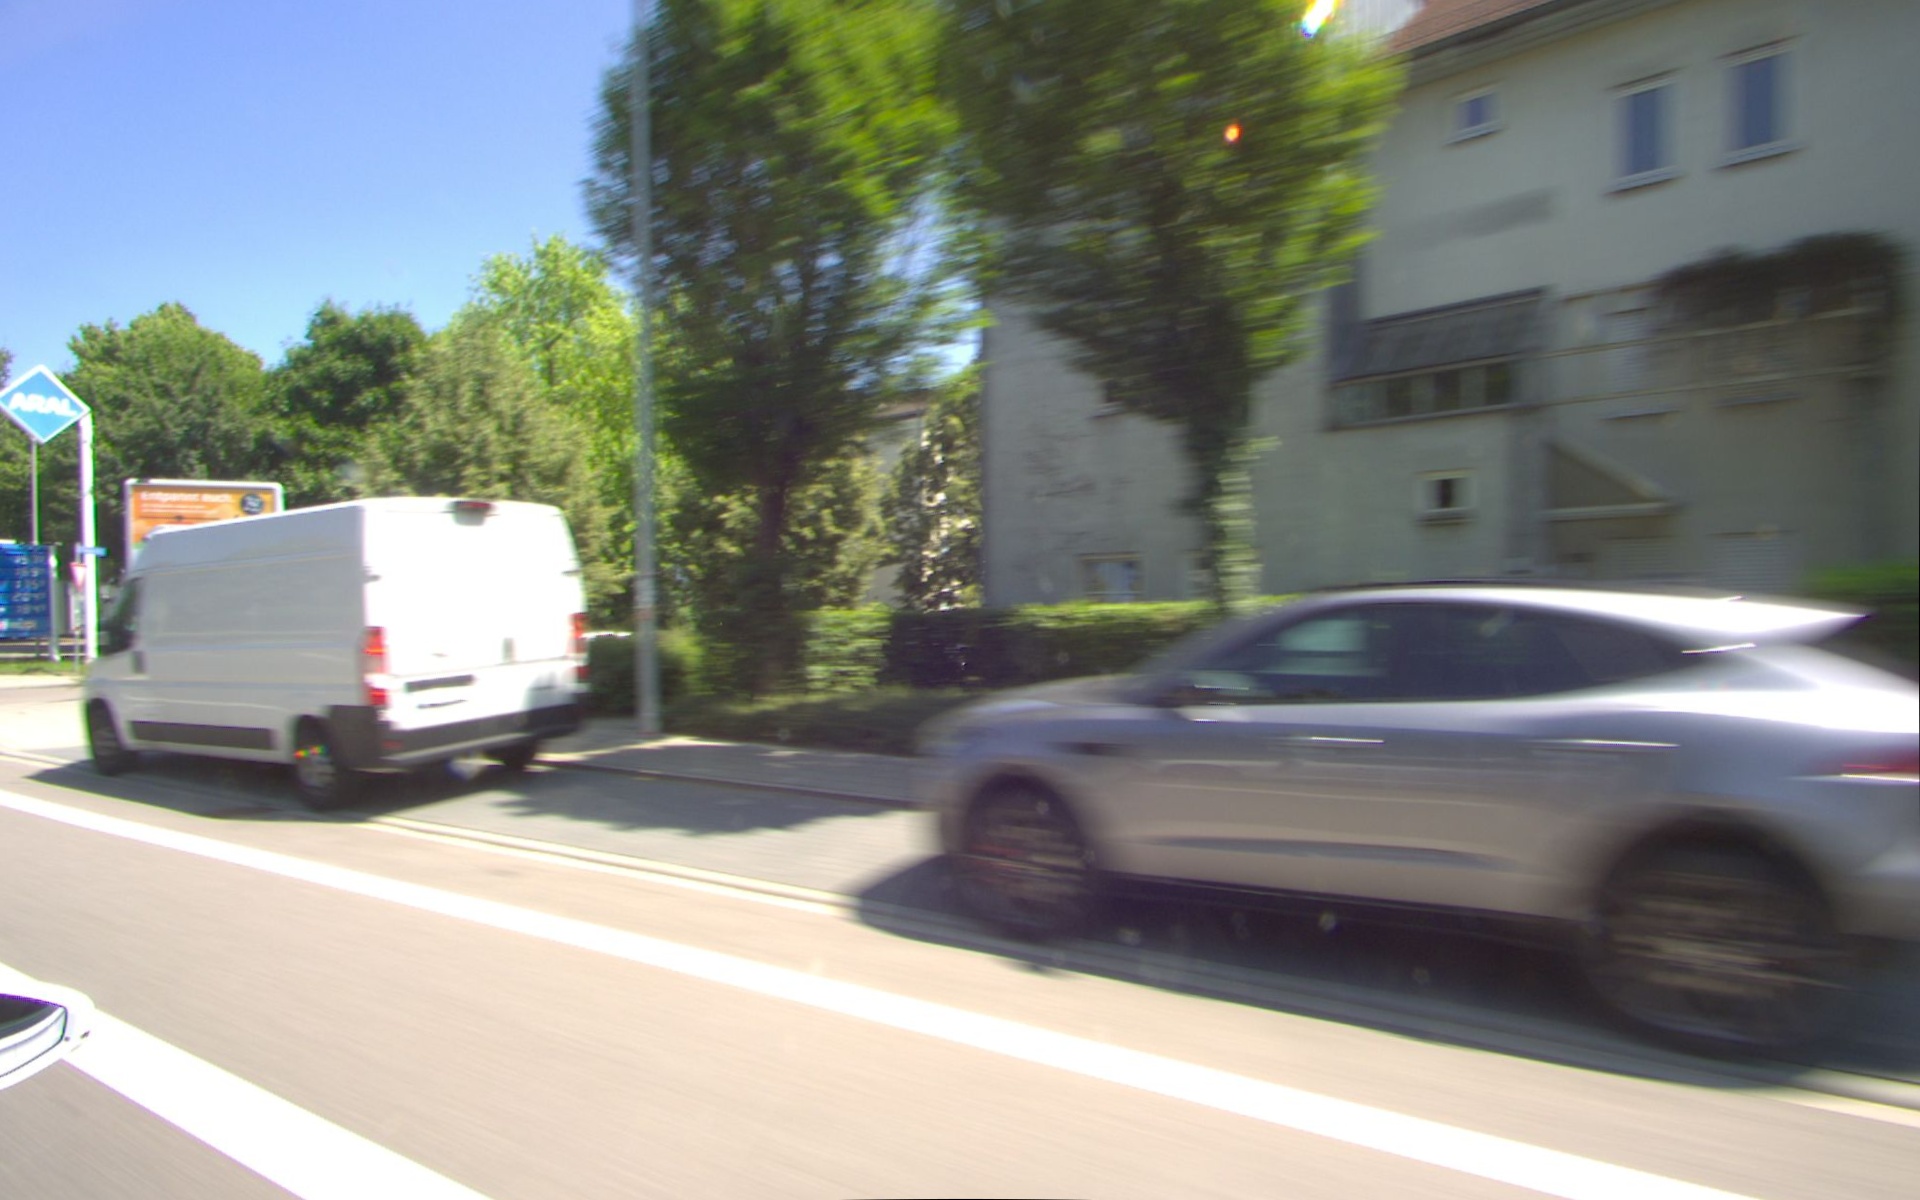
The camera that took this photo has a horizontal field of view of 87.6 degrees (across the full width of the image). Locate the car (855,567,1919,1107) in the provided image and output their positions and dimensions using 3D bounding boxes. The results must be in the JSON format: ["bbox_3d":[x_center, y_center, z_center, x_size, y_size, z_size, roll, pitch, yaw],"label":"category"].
[{"bbox_3d":[1.747,0.723,4.776,4.260,1.653,1.752,0,2,31],"label":"car"}]

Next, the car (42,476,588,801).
[{"bbox_3d":[-6.612,0.299,10.017,6.017,2.490,1.997,0,2,30],"label":"car"}]
